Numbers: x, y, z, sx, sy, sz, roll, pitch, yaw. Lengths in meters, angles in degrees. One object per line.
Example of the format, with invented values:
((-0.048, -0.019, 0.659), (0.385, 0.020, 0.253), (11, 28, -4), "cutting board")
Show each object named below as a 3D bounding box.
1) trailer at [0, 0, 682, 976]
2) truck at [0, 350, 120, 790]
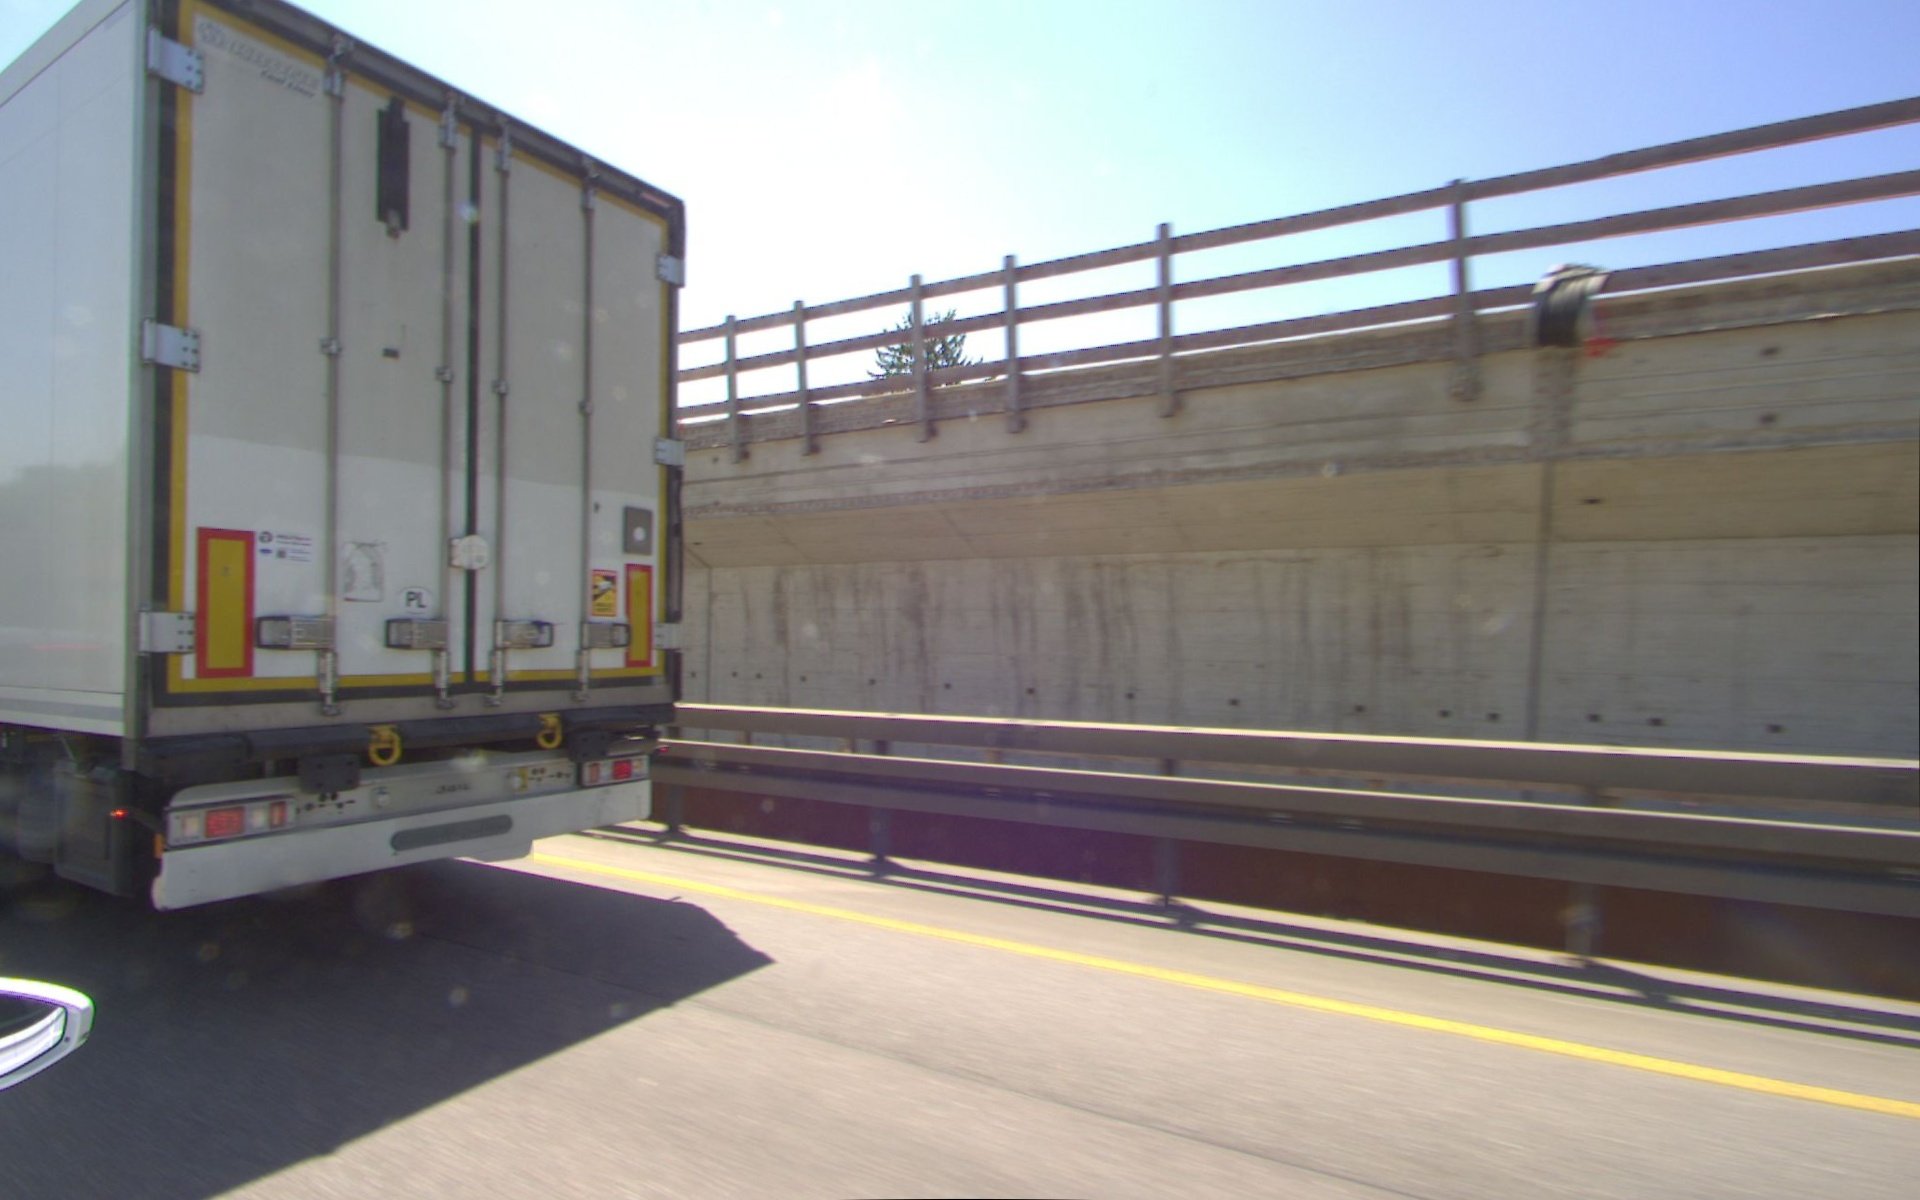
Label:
((-7.057, -0.548, 7.658), (11.384, 4.178, 2.528), (-2, -2, 32), "trailer")
((-12.523, -0.171, 11.118), (8.121, 4.075, 2.509), (-2, -2, 32), "truck")
